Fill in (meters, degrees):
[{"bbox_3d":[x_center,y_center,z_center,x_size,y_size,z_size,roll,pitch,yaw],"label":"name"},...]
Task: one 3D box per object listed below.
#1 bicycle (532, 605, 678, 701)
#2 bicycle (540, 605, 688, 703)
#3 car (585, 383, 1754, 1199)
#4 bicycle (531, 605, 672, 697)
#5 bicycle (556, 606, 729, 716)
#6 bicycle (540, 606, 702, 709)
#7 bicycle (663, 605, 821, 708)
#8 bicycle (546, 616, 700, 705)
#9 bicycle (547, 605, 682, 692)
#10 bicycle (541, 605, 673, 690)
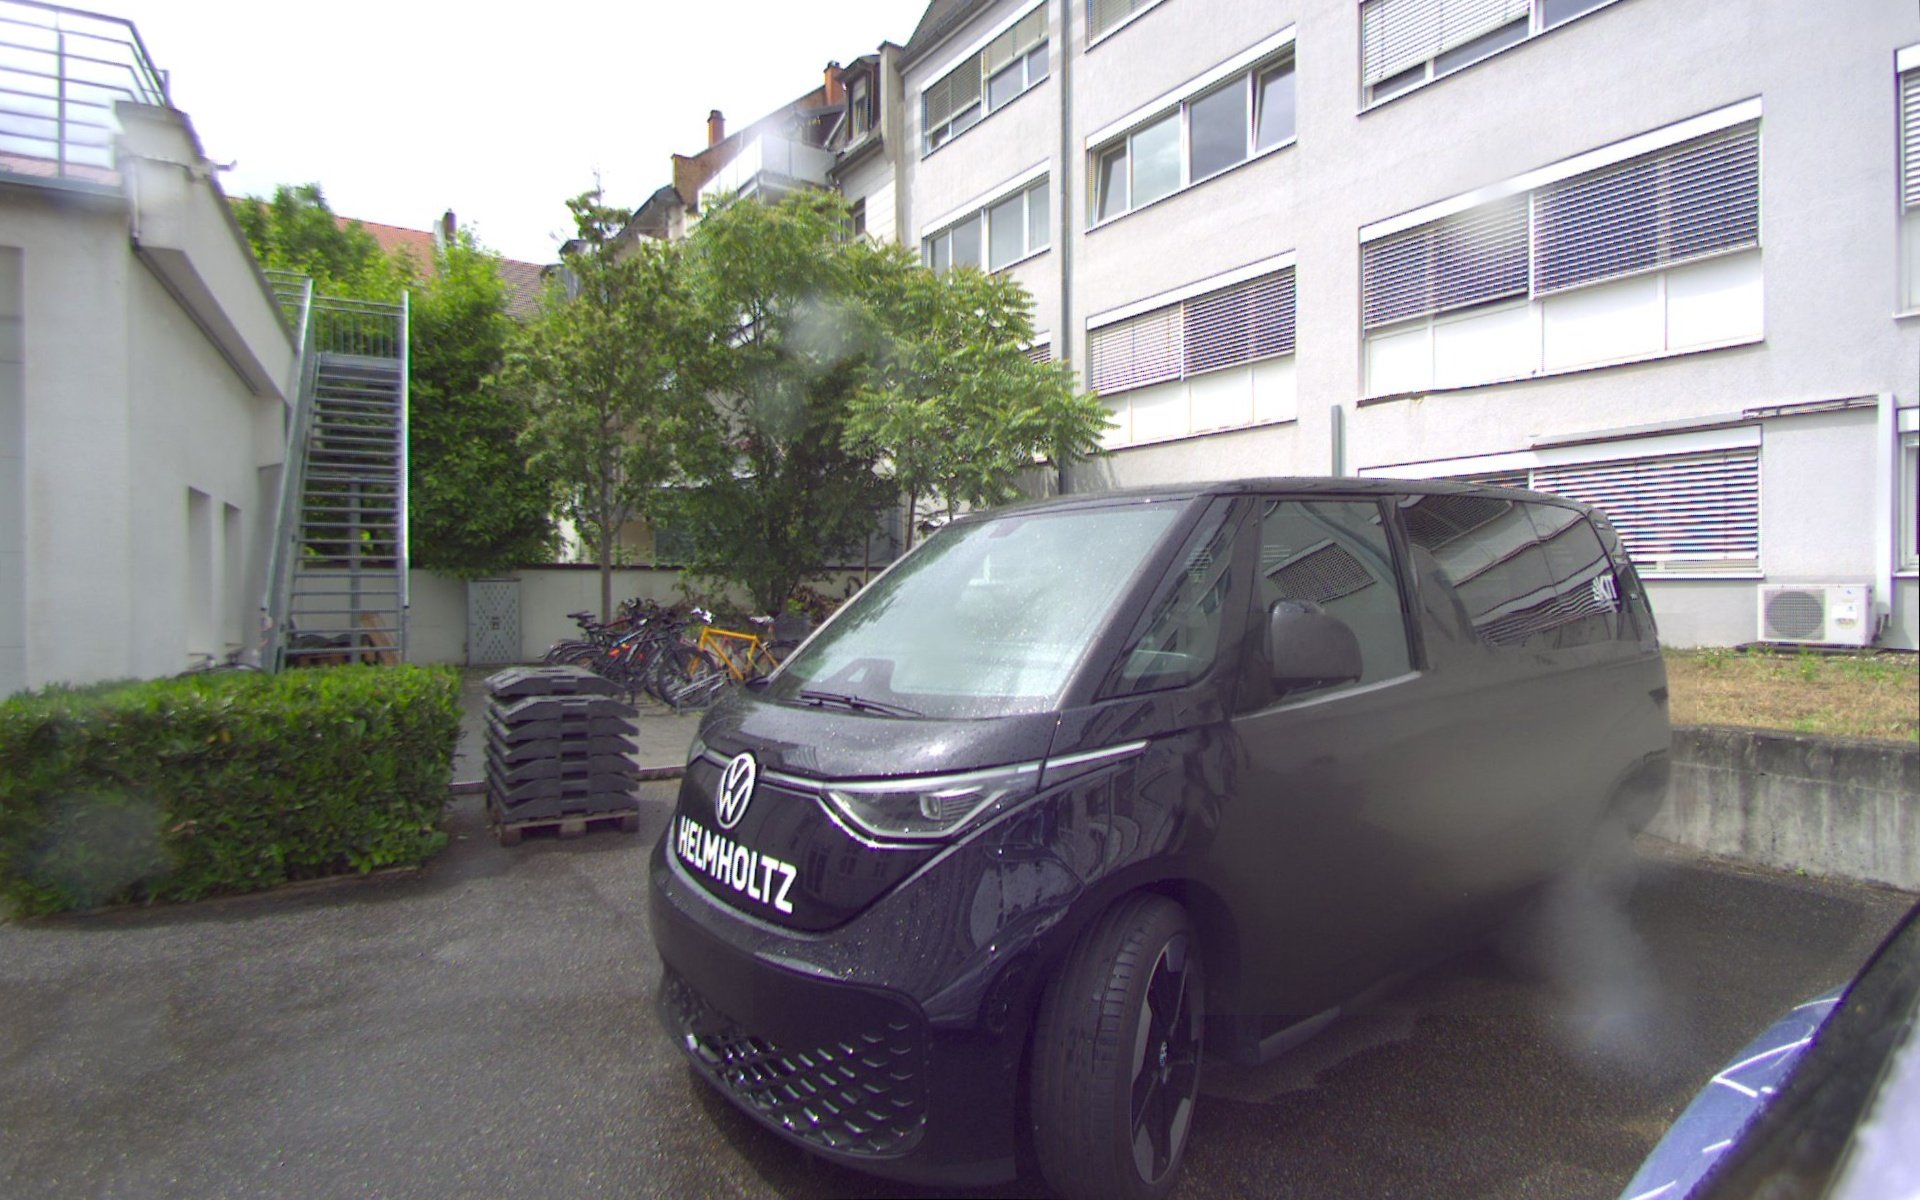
[{"bbox_3d":[-4.472,0.640,12.813,1.722,1.118,0.343,-1,1,-36],"label":"bicycle"},{"bbox_3d":[-4.257,0.638,12.529,1.722,1.118,0.333,-1,1,-36],"label":"bicycle"},{"bbox_3d":[1.184,0.471,4.059,4.660,1.888,1.970,-2,1,-36],"label":"car"},{"bbox_3d":[-4.670,0.639,13.260,1.722,1.118,0.346,-1,1,-36],"label":"bicycle"},{"bbox_3d":[-3.463,0.636,11.097,1.760,1.118,0.406,0,1,-28],"label":"bicycle"},{"bbox_3d":[-3.921,0.638,11.766,1.760,1.118,0.355,0,1,-28],"label":"bicycle"},{"bbox_3d":[-2.515,0.629,11.744,1.760,1.118,0.367,0,1,-28],"label":"bicycle"},{"bbox_3d":[-4.051,0.706,12.254,1.762,0.979,0.330,-1,1,-35],"label":"bicycle"},{"bbox_3d":[-4.705,0.637,13.867,1.722,1.118,0.355,-1,1,-36],"label":"bicycle"},{"bbox_3d":[-4.915,0.638,14.156,1.722,1.118,0.342,-1,1,-36],"label":"bicycle"}]
